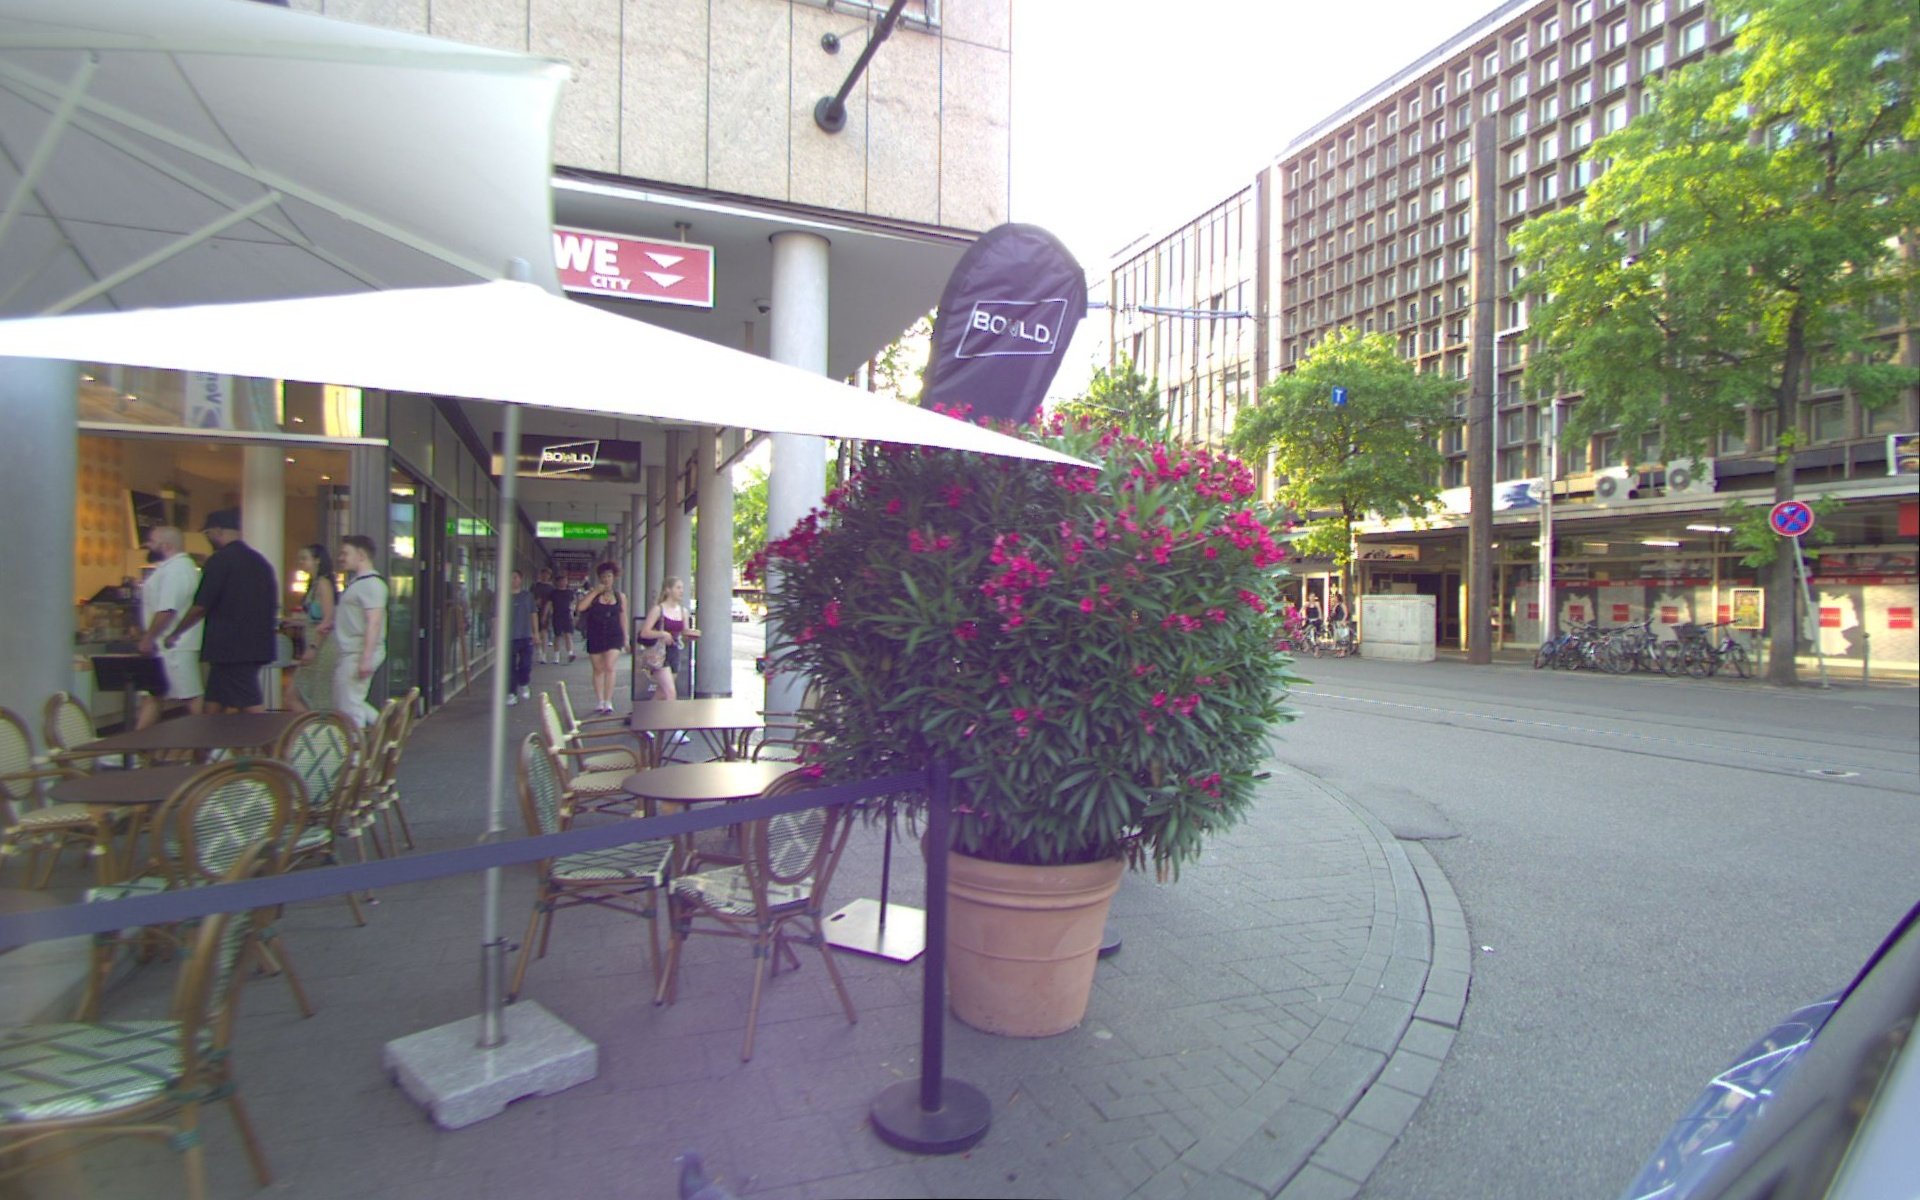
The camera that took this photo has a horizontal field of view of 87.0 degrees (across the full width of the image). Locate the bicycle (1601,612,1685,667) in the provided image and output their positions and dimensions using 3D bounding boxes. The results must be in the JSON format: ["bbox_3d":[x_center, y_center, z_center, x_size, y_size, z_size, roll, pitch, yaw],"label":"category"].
[{"bbox_3d":[14.026,0.803,20.790,1.740,1.058,0.490,-1,0,-21],"label":"bicycle"}]

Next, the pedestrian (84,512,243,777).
[{"bbox_3d":[-5.932,0.319,7.580,0.651,1.872,0.721,2,-1,-15],"label":"pedestrian"}]

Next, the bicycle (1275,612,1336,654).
[{"bbox_3d":[9.275,0.871,27.233,0.479,1.058,1.781,0,-1,-23],"label":"bicycle"}]

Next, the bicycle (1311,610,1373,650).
[{"bbox_3d":[10.508,0.810,27.900,0.479,1.058,1.781,0,-1,-23],"label":"bicycle"}]

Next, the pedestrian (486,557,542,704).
[{"bbox_3d":[-5.494,0.369,12.492,0.560,1.753,0.618,2,-1,-22],"label":"pedestrian"}]

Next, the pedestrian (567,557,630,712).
[{"bbox_3d":[-4.232,0.398,11.829,0.624,1.753,0.618,2,-1,-22],"label":"pedestrian"}]

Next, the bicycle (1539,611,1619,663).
[{"bbox_3d":[13.516,0.791,22.089,1.740,1.058,0.490,-1,0,-21],"label":"bicycle"}]

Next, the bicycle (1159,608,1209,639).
[{"bbox_3d":[7.877,0.822,35.556,1.741,1.002,0.490,-1,-1,-26],"label":"bicycle"}]

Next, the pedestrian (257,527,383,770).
[{"bbox_3d":[-5.029,0.365,7.995,0.651,1.809,0.721,2,-1,-20],"label":"pedestrian"}]

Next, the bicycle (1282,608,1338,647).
[{"bbox_3d":[10.472,0.818,30.285,1.741,1.085,0.490,-1,0,-26],"label":"bicycle"}]

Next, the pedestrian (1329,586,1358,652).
[{"bbox_3d":[10.214,0.502,26.952,0.593,1.721,0.534,0,-1,8],"label":"pedestrian"}]

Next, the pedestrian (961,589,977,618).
[{"bbox_3d":[0.575,0.201,63.136,0.672,1.815,0.992,-2,1,-19],"label":"pedestrian"}]

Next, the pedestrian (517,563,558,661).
[{"bbox_3d":[-8.403,0.241,20.153,0.674,1.907,0.775,2,-1,-22],"label":"pedestrian"}]

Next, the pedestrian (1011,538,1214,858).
[{"bbox_3d":[0.890,0.526,6.080,0.757,1.719,0.998,0,-1,-29],"label":"pedestrian"}]

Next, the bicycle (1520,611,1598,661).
[{"bbox_3d":[13.345,0.787,22.551,1.740,1.058,0.490,-1,0,-21],"label":"bicycle"}]

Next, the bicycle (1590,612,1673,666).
[{"bbox_3d":[13.943,0.801,21.019,1.740,1.058,0.490,-1,0,-21],"label":"bicycle"}]

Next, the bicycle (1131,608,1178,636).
[{"bbox_3d":[7.187,0.805,37.374,1.741,1.002,0.490,-1,-1,-26],"label":"bicycle"}]

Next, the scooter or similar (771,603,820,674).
[{"bbox_3d":[-3.036,0.698,18.756,0.388,1.267,1.184,1,-1,17],"label":"scooter or similar"}]

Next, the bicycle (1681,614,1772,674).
[{"bbox_3d":[14.574,0.817,19.239,1.740,1.058,0.490,-1,0,-21],"label":"bicycle"}]

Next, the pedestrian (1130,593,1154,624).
[{"bbox_3d":[8.151,0.389,45.350,0.658,1.342,0.914,-2,1,-22],"label":"pedestrian"}]

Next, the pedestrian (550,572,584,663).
[{"bbox_3d":[-7.880,0.343,20.274,0.572,1.775,0.775,2,-1,-22],"label":"pedestrian"}]

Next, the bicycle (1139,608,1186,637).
[{"bbox_3d":[7.382,0.810,36.882,1.741,1.002,0.490,-1,-1,-26],"label":"bicycle"}]

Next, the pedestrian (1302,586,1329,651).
[{"bbox_3d":[9.588,0.499,27.305,0.593,1.721,0.534,0,-1,8],"label":"pedestrian"}]

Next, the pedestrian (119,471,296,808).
[{"bbox_3d":[-4.866,0.244,6.605,0.674,2.039,0.784,2,-1,-20],"label":"pedestrian"}]

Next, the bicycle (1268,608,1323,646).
[{"bbox_3d":[10.249,0.812,30.900,1.741,1.085,0.490,-1,0,-26],"label":"bicycle"}]

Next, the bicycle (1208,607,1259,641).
[{"bbox_3d":[9.117,0.787,33.692,1.741,1.085,0.490,-1,0,-26],"label":"bicycle"}]

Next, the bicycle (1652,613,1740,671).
[{"bbox_3d":[14.402,0.812,19.796,1.740,1.058,0.490,-1,0,-21],"label":"bicycle"}]

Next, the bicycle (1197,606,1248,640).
[{"bbox_3d":[8.894,0.782,34.226,1.741,1.085,0.490,-1,0,-26],"label":"bicycle"}]

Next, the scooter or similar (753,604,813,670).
[{"bbox_3d":[-3.510,0.725,20.115,0.494,1.267,1.100,0,-2,39],"label":"scooter or similar"}]

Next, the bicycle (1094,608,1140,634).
[{"bbox_3d":[6.200,0.828,39.995,1.742,0.978,0.490,-1,1,-4],"label":"bicycle"}]

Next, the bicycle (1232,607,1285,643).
[{"bbox_3d":[9.603,0.797,32.546,1.741,1.085,0.490,-1,0,-26],"label":"bicycle"}]

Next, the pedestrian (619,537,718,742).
[{"bbox_3d":[-2.709,0.352,9.373,0.759,1.795,0.775,2,-1,-22],"label":"pedestrian"}]

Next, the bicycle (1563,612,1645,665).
[{"bbox_3d":[13.716,0.796,21.553,1.740,1.058,0.490,-1,0,-21],"label":"bicycle"}]

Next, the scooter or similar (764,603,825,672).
[{"bbox_3d":[-3.161,0.711,19.389,0.391,1.267,1.174,0,-2,40],"label":"scooter or similar"}]

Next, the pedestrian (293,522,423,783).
[{"bbox_3d":[-4.409,0.369,7.464,0.651,1.809,0.721,2,-1,-20],"label":"pedestrian"}]

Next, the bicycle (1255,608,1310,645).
[{"bbox_3d":[10.006,0.808,31.392,1.741,1.085,0.490,-1,0,-26],"label":"bicycle"}]

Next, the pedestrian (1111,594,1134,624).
[{"bbox_3d":[7.448,0.389,46.359,0.658,1.342,0.914,-2,1,-22],"label":"pedestrian"}]
